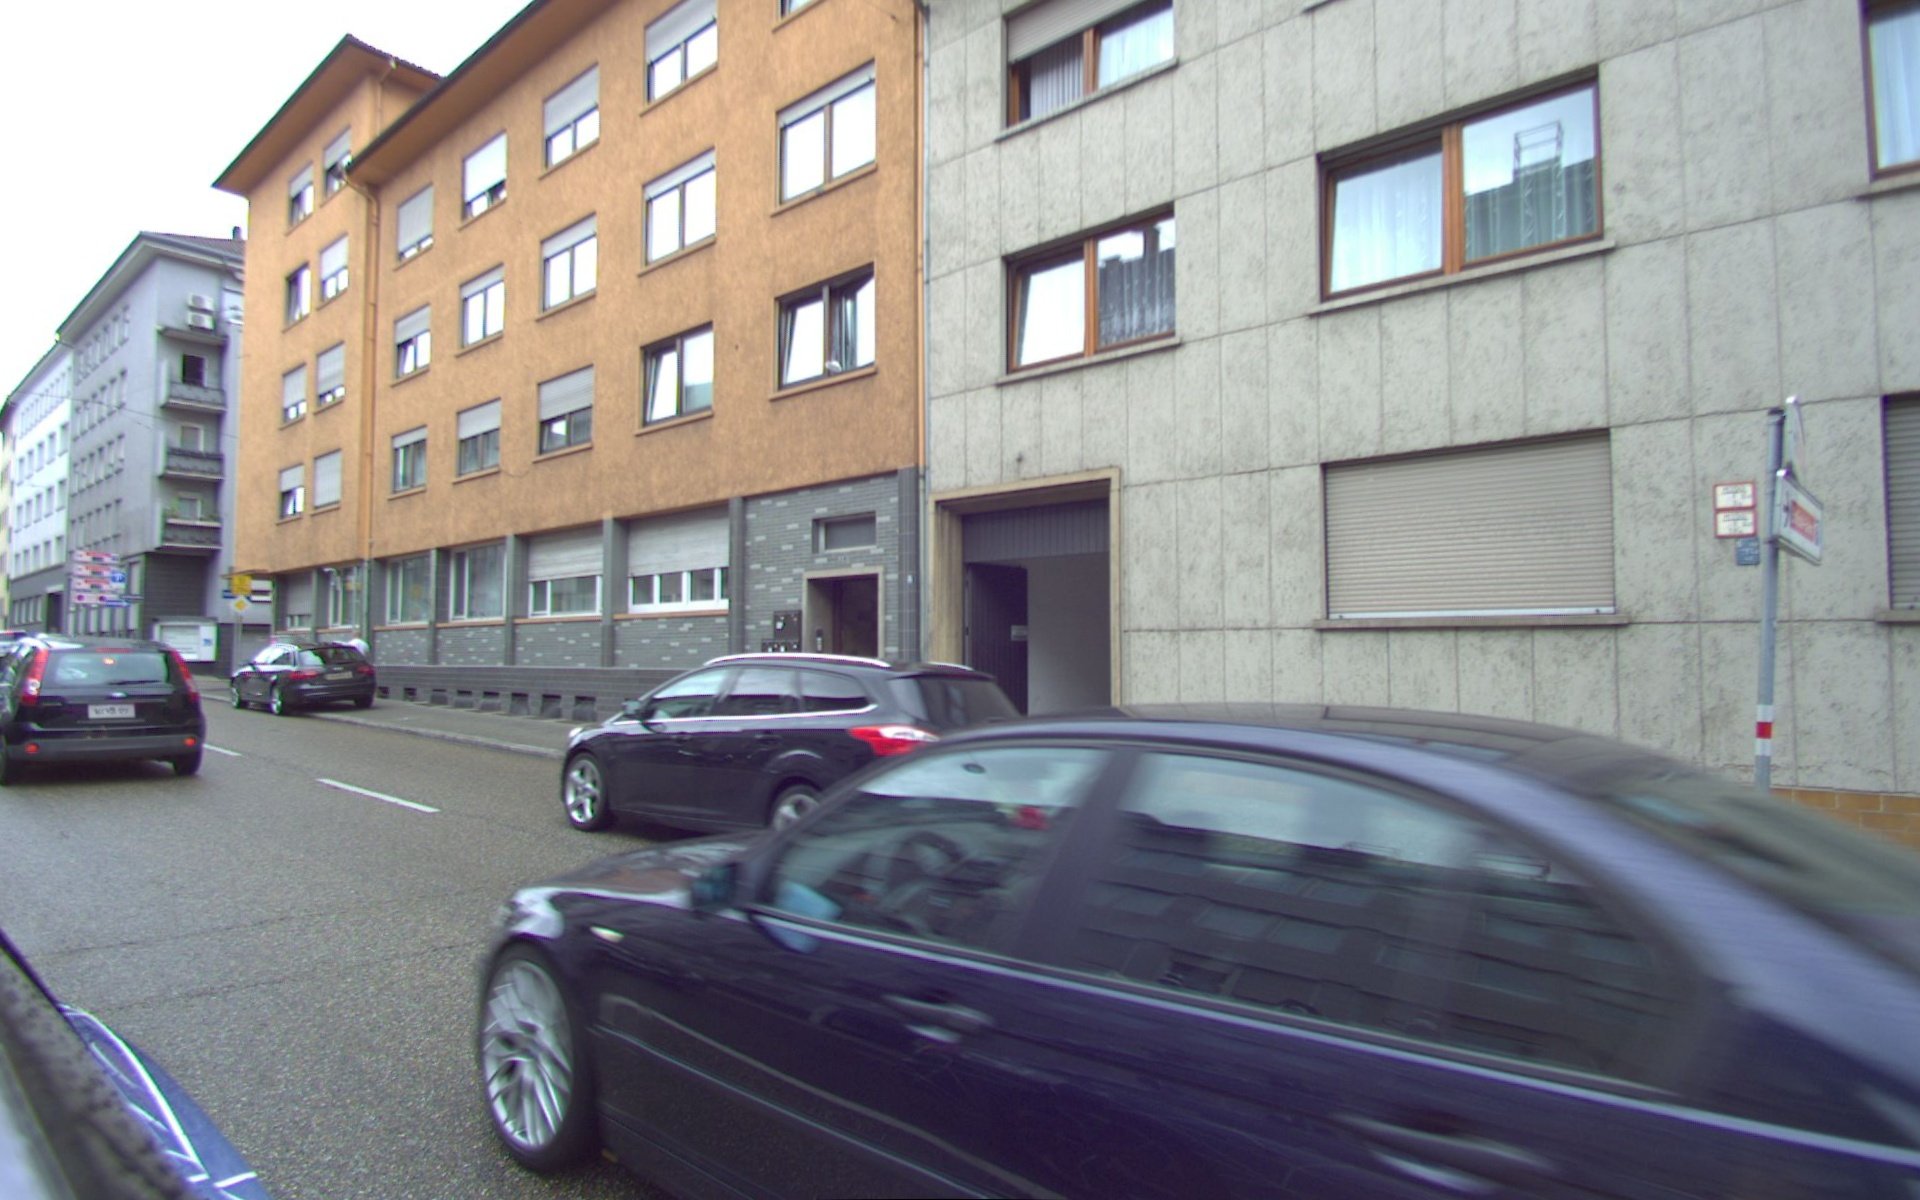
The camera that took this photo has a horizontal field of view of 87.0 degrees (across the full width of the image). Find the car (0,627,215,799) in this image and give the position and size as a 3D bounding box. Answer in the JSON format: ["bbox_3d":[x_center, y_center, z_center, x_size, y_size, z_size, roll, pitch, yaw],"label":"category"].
[{"bbox_3d":[-9.899,1.110,11.193,4.213,1.551,1.602,-1,-4,39],"label":"car"}]

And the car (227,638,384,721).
[{"bbox_3d":[-14.247,1.641,21.936,4.216,1.485,1.776,-1,0,41],"label":"car"}]

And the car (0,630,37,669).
[{"bbox_3d":[-46.474,2.373,49.272,4.216,1.735,1.832,-1,0,41],"label":"car"}]

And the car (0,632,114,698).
[{"bbox_3d":[-24.917,1.757,27.810,4.433,1.551,1.677,-1,-6,40],"label":"car"}]

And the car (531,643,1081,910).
[{"bbox_3d":[-1.378,1.122,7.837,4.370,1.484,1.705,-2,-5,40],"label":"car"}]

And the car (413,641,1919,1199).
[{"bbox_3d":[0.427,0.870,2.443,4.216,1.381,1.677,0,-4,42],"label":"car"}]

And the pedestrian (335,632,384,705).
[{"bbox_3d":[-14.261,1.607,24.027,0.757,1.652,1.024,-1,0,-44],"label":"pedestrian"}]
